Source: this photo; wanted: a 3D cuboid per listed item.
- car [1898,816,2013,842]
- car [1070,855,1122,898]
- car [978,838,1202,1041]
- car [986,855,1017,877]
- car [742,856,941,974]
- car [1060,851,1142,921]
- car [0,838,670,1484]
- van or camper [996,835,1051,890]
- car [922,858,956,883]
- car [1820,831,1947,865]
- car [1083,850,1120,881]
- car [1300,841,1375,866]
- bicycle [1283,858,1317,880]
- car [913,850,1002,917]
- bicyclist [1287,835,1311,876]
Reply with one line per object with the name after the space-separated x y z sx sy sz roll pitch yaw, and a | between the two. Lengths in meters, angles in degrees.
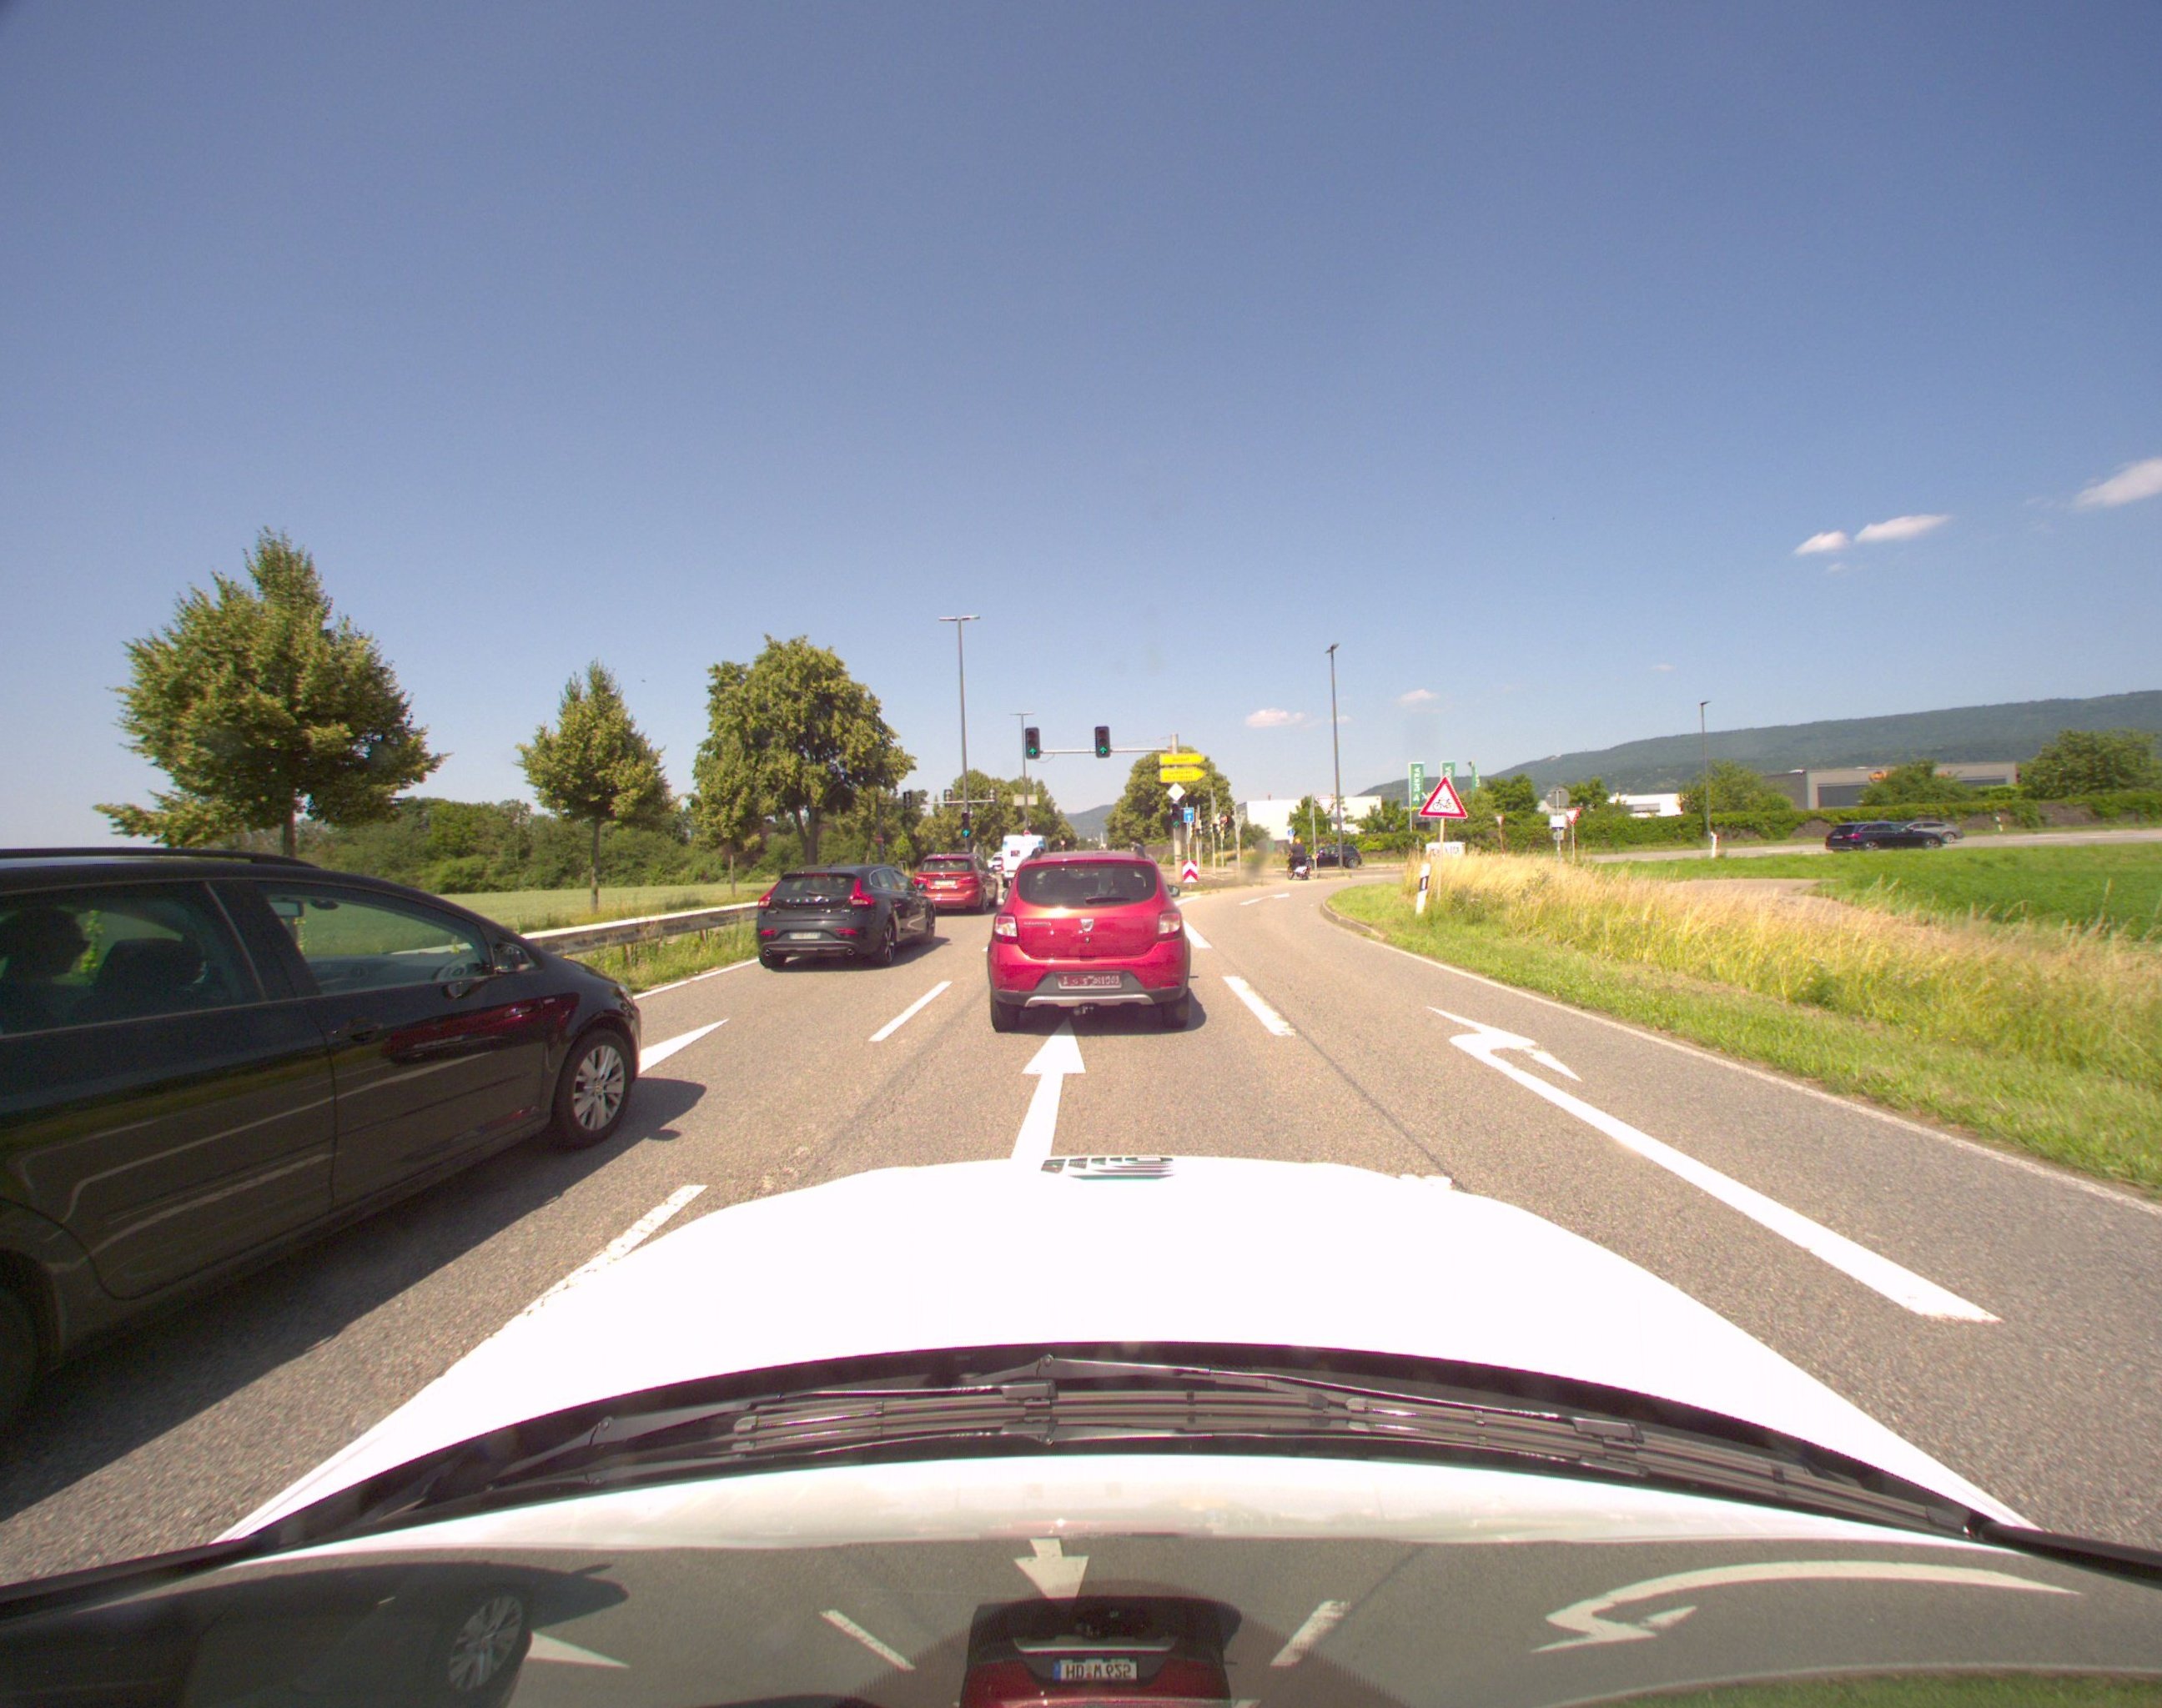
51.505 -1.446 48.076 4.333 1.327 1.813 -2 0 14 | car
0.617 0.792 30.577 1.742 1.458 3.680 -1 0 3 | car
0.175 0.672 8.311 1.742 1.575 3.680 -1 0 3 | car
-6.465 0.952 66.722 1.986 1.670 4.001 -2 0 1 | car
-3.409 0.787 12.403 1.695 1.442 3.958 -1 1 2 | car
0.535 0.695 19.405 1.742 1.458 3.680 -1 0 3 | car
-3.463 0.757 3.048 1.716 1.575 3.895 -1 0 2 | car
-2.541 0.342 36.983 2.172 2.303 4.825 -1 0 -1 | van or camper
-10.209 1.130 58.932 1.740 1.618 4.134 -2 0 -1 | car
40.368 -0.293 41.069 4.305 1.616 2.002 -1 0 4 | car
1.106 0.559 41.615 1.742 1.458 3.680 -1 0 3 | car
14.949 -0.036 47.592 3.962 1.327 1.812 -2 0 10 | car
9.734 0.646 36.283 0.759 0.915 2.779 -2 0 0 | bicycle
-3.183 0.698 21.672 1.718 1.600 3.955 -1 0 0 | car
9.710 0.079 36.245 0.799 1.771 0.808 -2 0 0 | bicyclist
